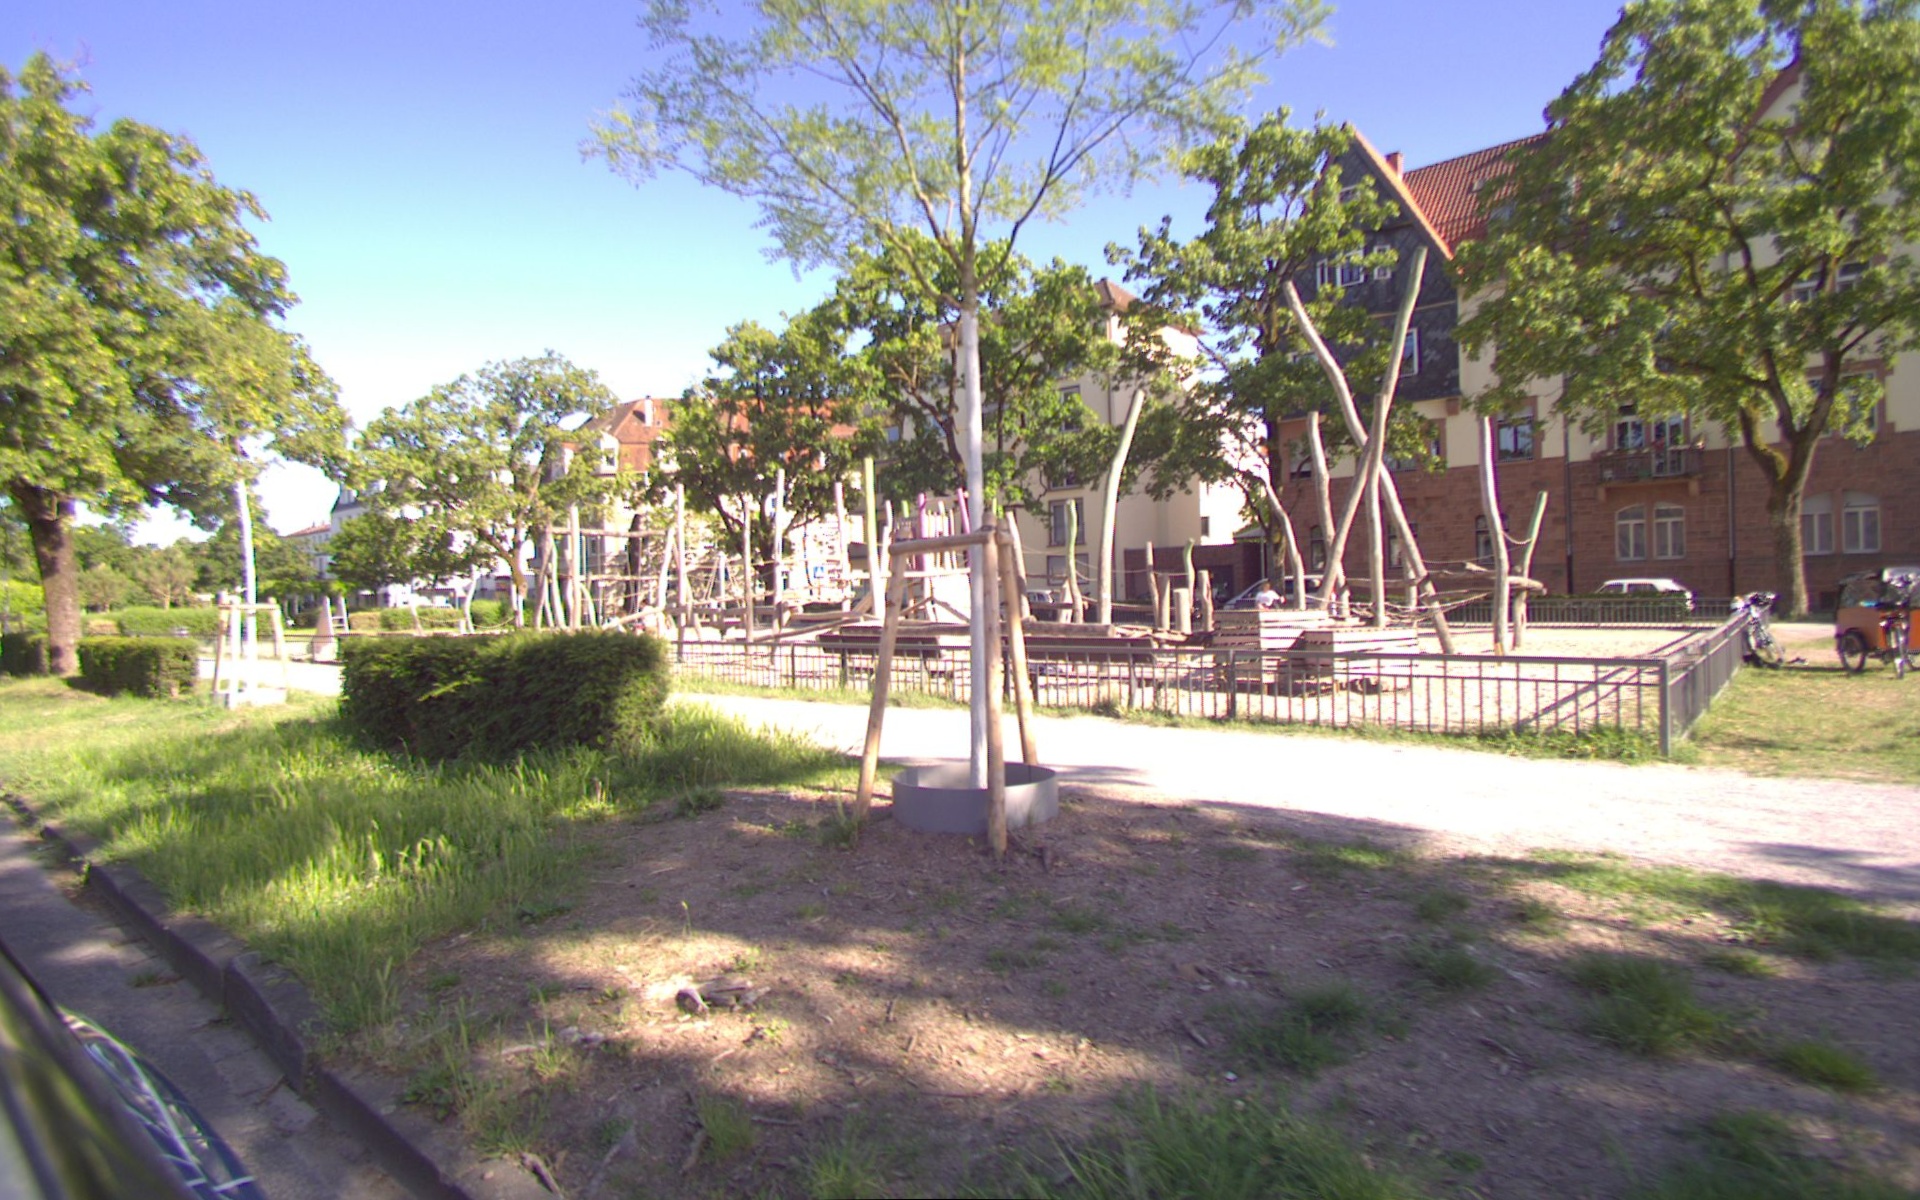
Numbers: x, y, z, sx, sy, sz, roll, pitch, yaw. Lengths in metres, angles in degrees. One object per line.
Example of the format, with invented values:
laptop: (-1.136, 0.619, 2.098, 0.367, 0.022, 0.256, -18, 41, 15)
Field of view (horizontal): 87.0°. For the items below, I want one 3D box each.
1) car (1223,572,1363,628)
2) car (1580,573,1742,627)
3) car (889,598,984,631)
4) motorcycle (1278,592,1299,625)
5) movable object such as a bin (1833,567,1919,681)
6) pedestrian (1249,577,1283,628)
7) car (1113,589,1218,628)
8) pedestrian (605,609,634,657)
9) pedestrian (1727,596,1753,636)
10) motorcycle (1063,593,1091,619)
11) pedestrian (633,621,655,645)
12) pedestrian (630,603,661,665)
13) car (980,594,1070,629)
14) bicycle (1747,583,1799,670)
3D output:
car: (12.878, 0.035, 39.321, 4.833, 1.997, 1.776, -2, 1, 41)
car: (21.999, 0.016, 31.850, 3.998, 1.521, 1.776, -2, 1, 41)
car: (-1.238, 0.739, 51.675, 4.760, 1.521, 1.887, -2, 1, 40)
motorcycle: (8.707, 0.221, 26.803, 0.284, 0.833, 0.695, -2, 0, 39)
movable object such as a bin: (11.263, 0.252, 12.090, 1.054, 1.251, 2.309, -2, -1, 37)
pedestrian: (8.184, 0.055, 27.070, 0.649, 1.328, 0.642, -2, 0, 38)
car: (8.750, 0.372, 43.254, 3.998, 1.521, 1.776, -2, 1, 41)
pedestrian: (-9.899, 0.958, 29.398, 0.639, 1.339, 0.652, -2, 0, -31)
pedestrian: (16.223, 0.330, 21.046, 0.359, 0.810, 0.478, -2, 0, 42)
motorcycle: (5.340, 0.255, 46.230, 0.499, 1.116, 1.780, -2, 0, 33)
pedestrian: (-13.092, 1.363, 41.915, 0.535, 0.986, 0.779, -2, 0, -41)
pedestrian: (-8.840, 0.939, 28.411, 0.639, 1.674, 0.652, -2, 0, -31)
car: (3.066, 0.537, 48.051, 3.998, 1.521, 1.776, -2, 1, 41)
bicycle: (11.358, 0.349, 14.144, 0.499, 1.116, 1.777, -2, 0, 39)
